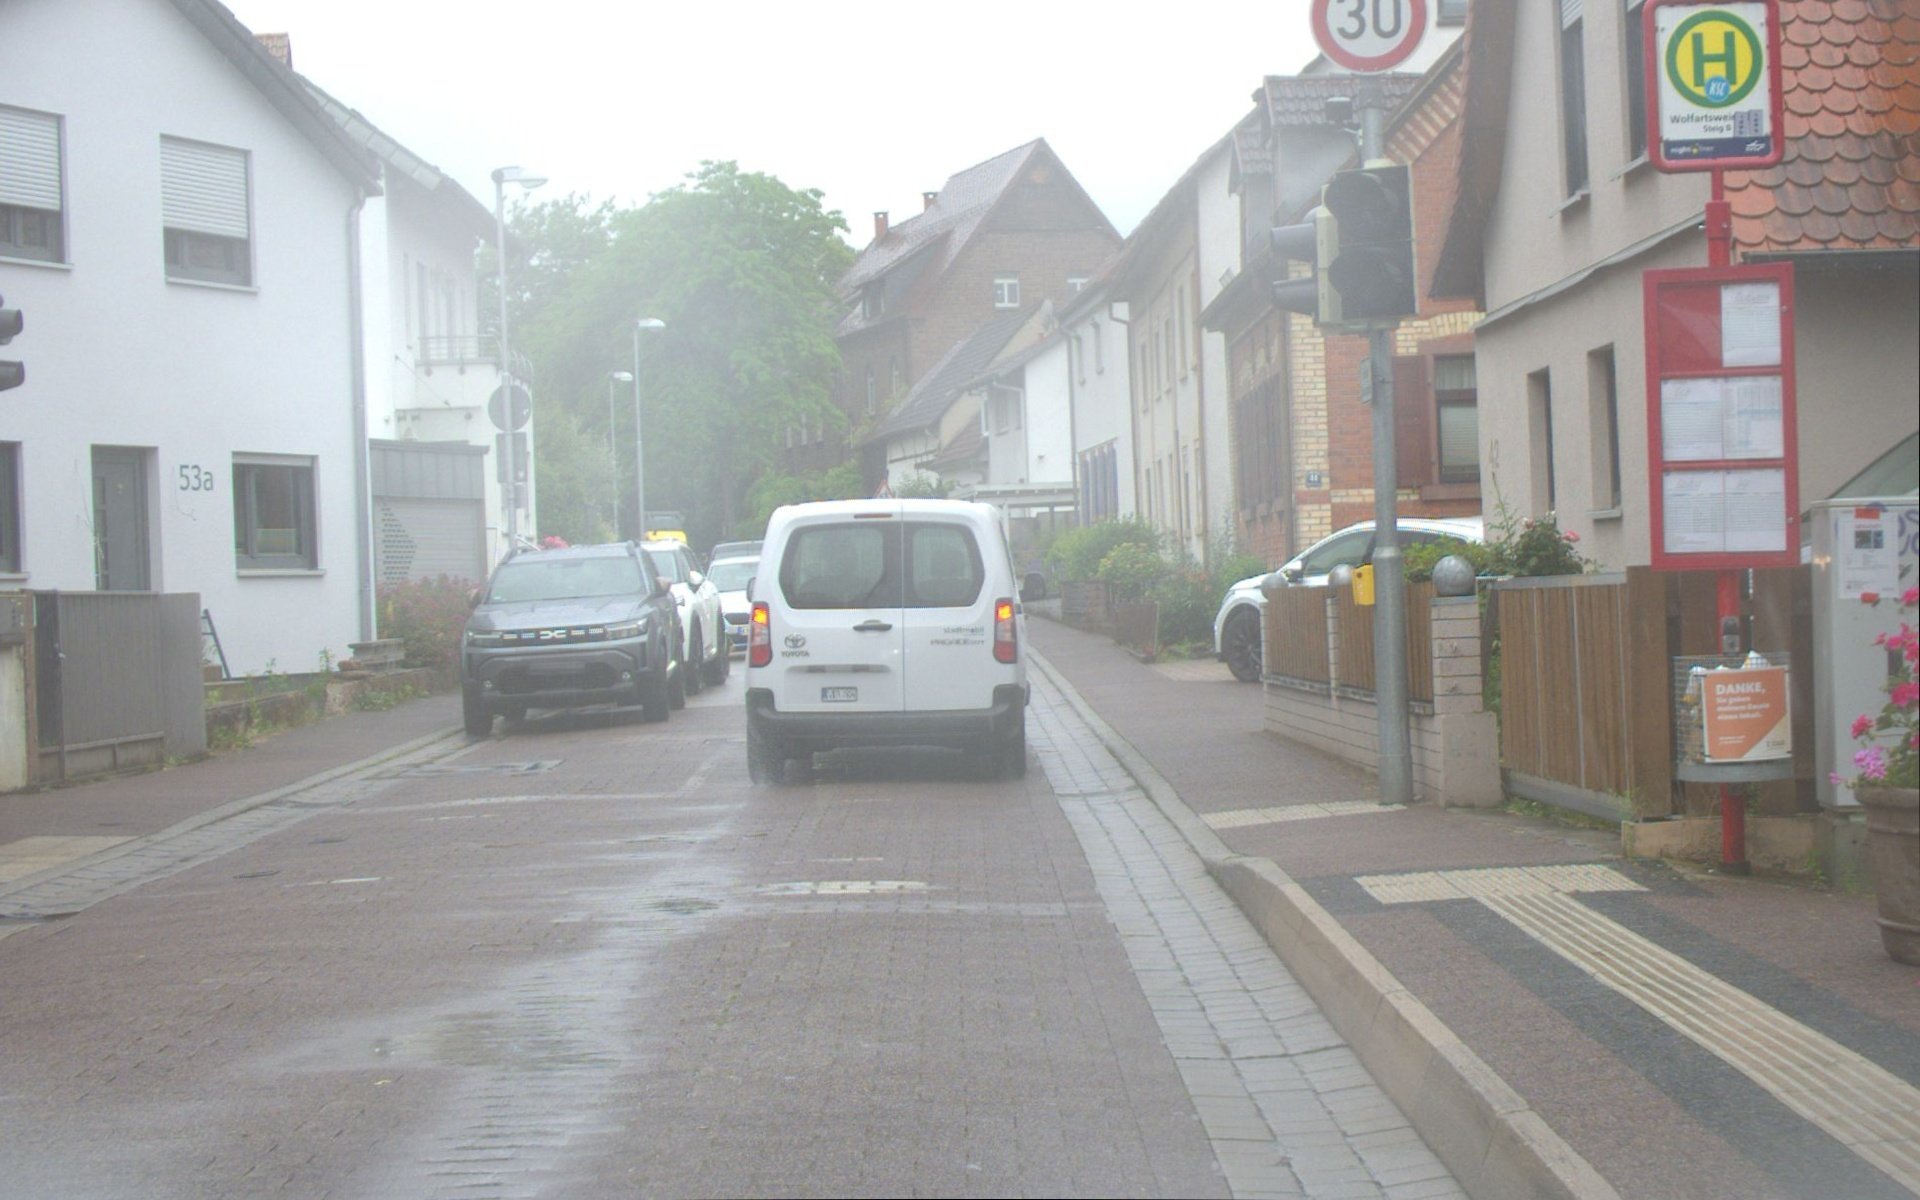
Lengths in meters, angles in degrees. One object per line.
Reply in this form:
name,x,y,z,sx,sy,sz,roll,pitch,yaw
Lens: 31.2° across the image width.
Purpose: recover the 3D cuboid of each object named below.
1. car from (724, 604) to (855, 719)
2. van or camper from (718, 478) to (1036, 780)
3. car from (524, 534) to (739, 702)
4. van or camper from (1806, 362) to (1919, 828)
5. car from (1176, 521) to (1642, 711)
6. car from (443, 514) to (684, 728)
car,-2.545,0.899,50.563,1.688,1.559,3.934,-2,-1,-5
van or camper,-0.516,0.132,23.134,1.943,1.844,4.000,0,1,0
car,-3.550,0.187,37.896,1.748,1.631,4.418,-4,0,1
van or camper,6.448,-0.020,14.877,5.068,1.916,1.876,0,1,-3
car,4.186,0.087,32.824,1.871,1.584,4.619,-1,3,-32
car,-3.584,0.133,31.705,1.812,1.773,4.018,-2,1,-2
